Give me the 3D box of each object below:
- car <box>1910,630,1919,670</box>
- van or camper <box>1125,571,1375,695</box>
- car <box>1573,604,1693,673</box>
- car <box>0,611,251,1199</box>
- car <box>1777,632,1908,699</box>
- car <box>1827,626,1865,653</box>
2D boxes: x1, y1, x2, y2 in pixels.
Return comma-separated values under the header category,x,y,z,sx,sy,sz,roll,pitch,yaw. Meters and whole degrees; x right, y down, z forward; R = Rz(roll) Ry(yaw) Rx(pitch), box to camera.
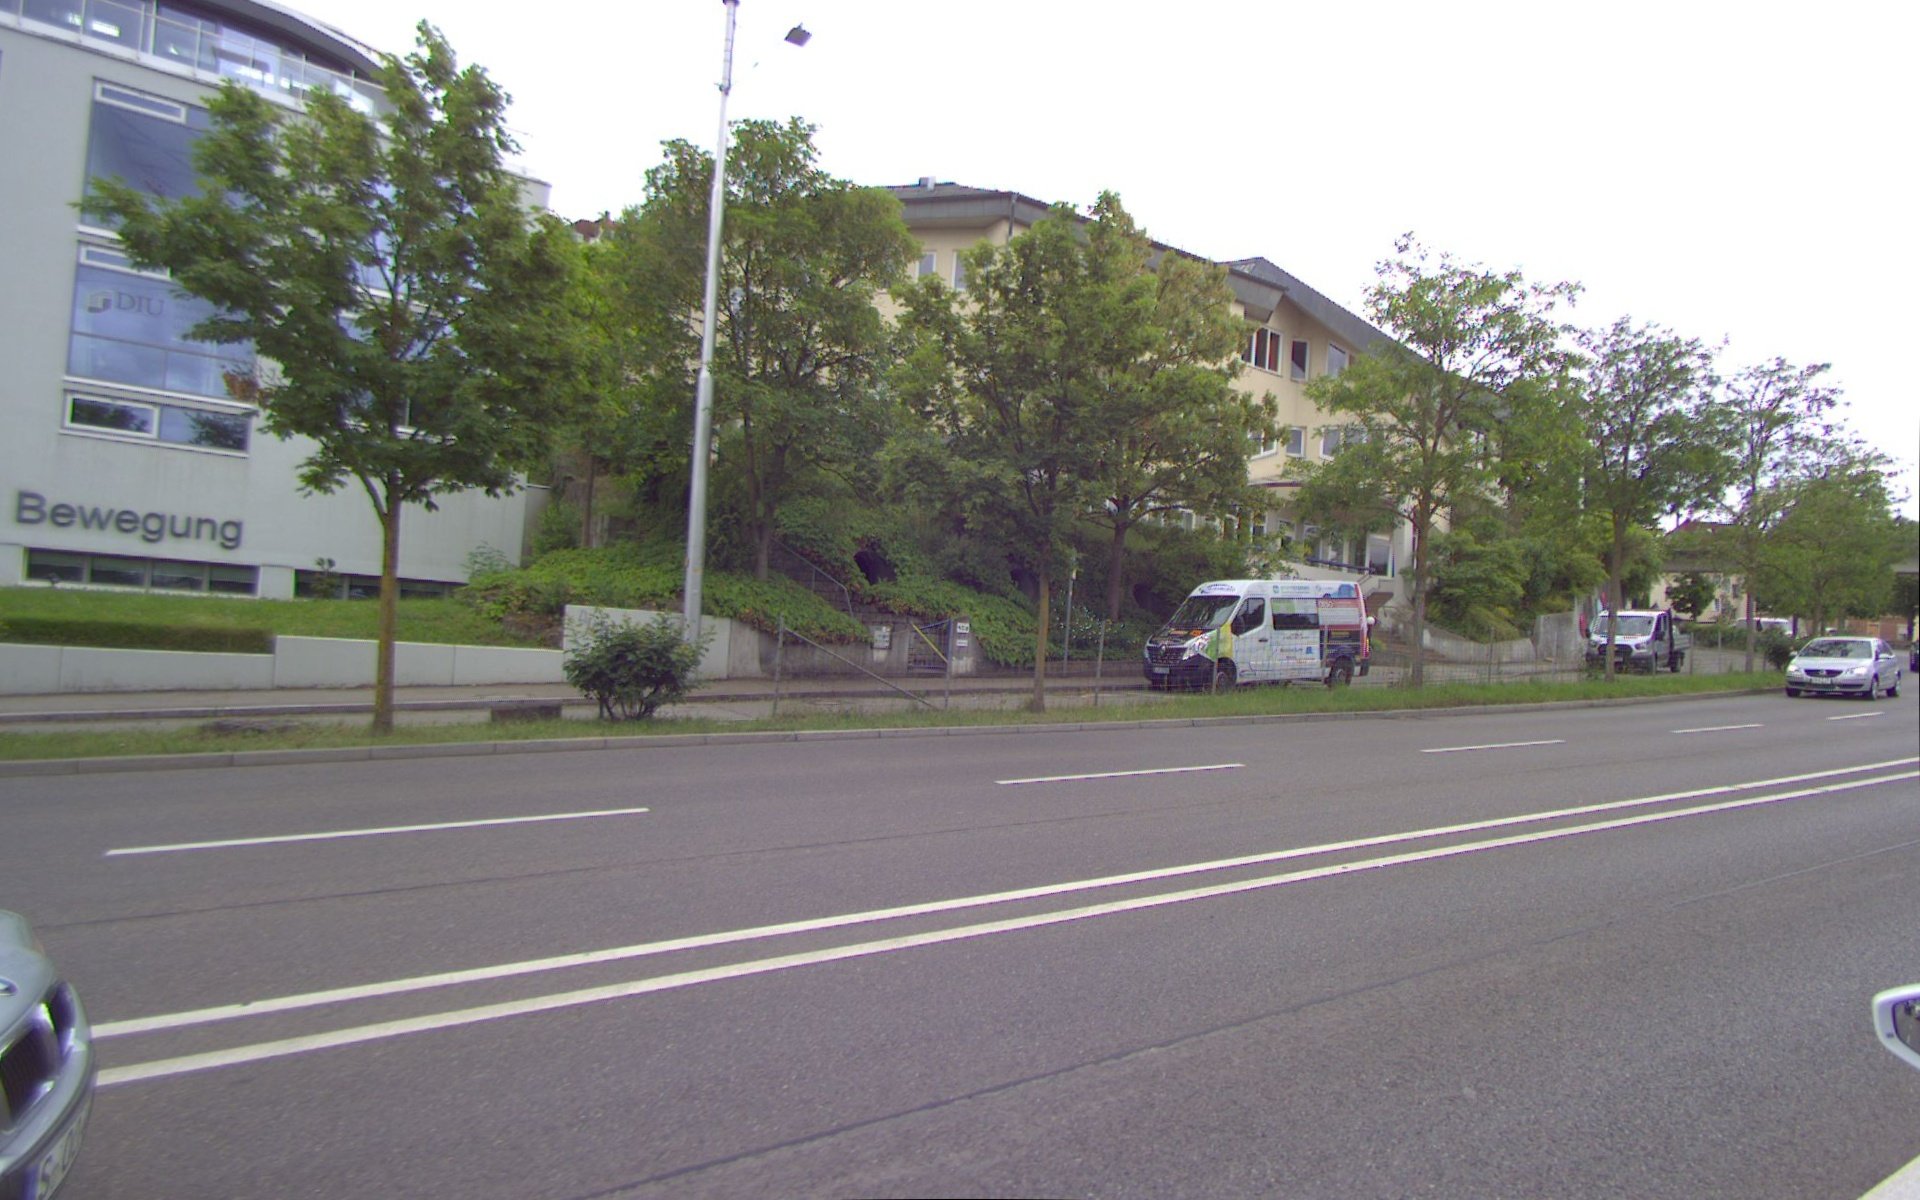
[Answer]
category,x,y,z,sx,sy,sz,roll,pitch,yaw
car,39.842,2.023,40.702,4.438,1.596,1.768,2,-2,-44
van or camper,6.565,0.750,22.504,5.640,2.505,1.985,2,-1,-29
car,24.452,1.390,36.387,6.282,2.303,2.246,2,-2,-43
car,-3.499,0.689,0.858,4.567,1.401,1.626,2,0,-31
car,21.599,1.554,24.558,3.852,1.450,1.555,2,0,-35
car,68.770,3.018,77.989,1.873,1.963,3.985,1,-1,37
